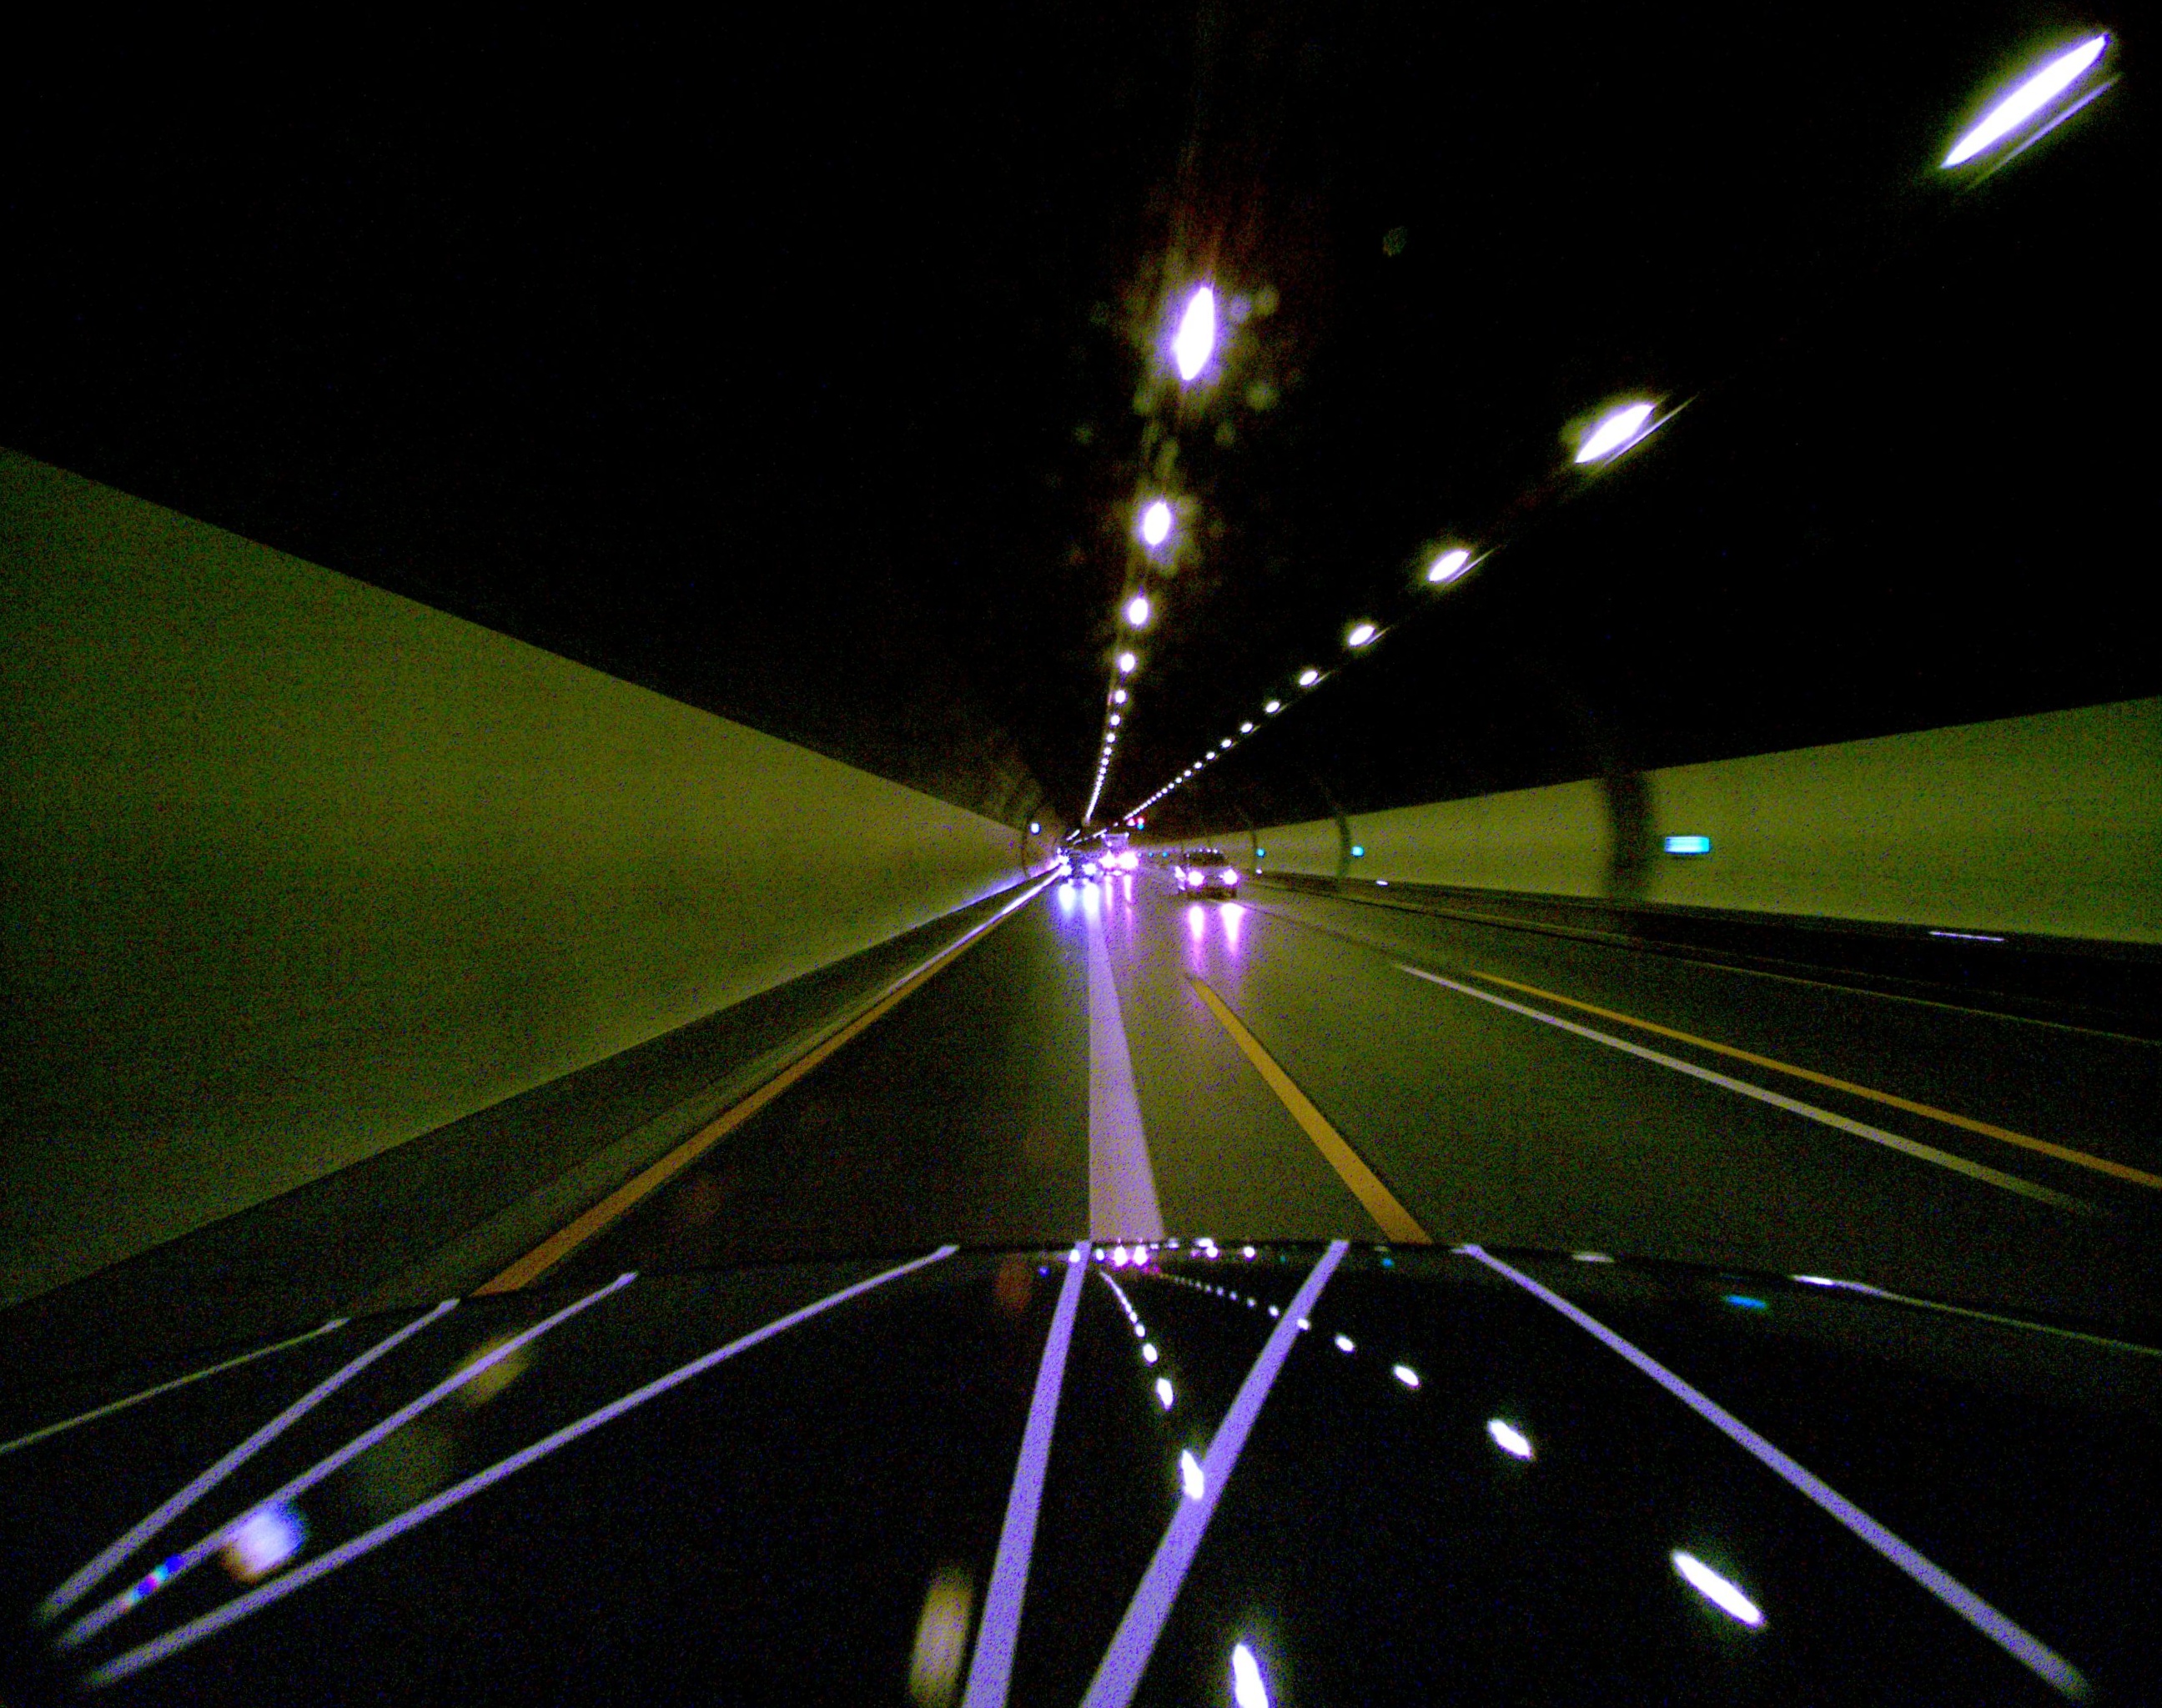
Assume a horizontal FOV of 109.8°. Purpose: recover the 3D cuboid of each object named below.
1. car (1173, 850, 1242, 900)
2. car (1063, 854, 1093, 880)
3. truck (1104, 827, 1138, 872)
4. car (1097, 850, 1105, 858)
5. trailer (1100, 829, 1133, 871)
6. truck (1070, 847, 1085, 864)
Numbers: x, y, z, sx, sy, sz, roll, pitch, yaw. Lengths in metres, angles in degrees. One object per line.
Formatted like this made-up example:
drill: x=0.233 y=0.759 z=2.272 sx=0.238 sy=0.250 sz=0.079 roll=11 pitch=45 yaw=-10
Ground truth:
car: x=4.336 y=0.675 z=26.507 sx=1.766 sy=1.563 sz=4.097 roll=-1 pitch=1 yaw=1
car: x=-0.149 y=0.773 z=46.752 sx=1.728 sy=1.474 sz=4.000 roll=-1 pitch=0 yaw=1
truck: x=3.135 y=-0.346 z=60.087 sx=2.374 sy=3.328 sz=4.719 roll=-3 pitch=0 yaw=1
car: x=5.470 y=0.062 z=209.070 sx=1.929 sy=2.002 sz=4.000 roll=-2 pitch=0 yaw=1
trailer: x=2.972 y=-0.349 z=66.706 sx=2.374 sy=3.328 sz=12.078 roll=0 pitch=0 yaw=0
truck: x=-0.621 y=0.332 z=126.200 sx=2.151 sy=2.608 sz=9.907 roll=-1 pitch=-1 yaw=-2
